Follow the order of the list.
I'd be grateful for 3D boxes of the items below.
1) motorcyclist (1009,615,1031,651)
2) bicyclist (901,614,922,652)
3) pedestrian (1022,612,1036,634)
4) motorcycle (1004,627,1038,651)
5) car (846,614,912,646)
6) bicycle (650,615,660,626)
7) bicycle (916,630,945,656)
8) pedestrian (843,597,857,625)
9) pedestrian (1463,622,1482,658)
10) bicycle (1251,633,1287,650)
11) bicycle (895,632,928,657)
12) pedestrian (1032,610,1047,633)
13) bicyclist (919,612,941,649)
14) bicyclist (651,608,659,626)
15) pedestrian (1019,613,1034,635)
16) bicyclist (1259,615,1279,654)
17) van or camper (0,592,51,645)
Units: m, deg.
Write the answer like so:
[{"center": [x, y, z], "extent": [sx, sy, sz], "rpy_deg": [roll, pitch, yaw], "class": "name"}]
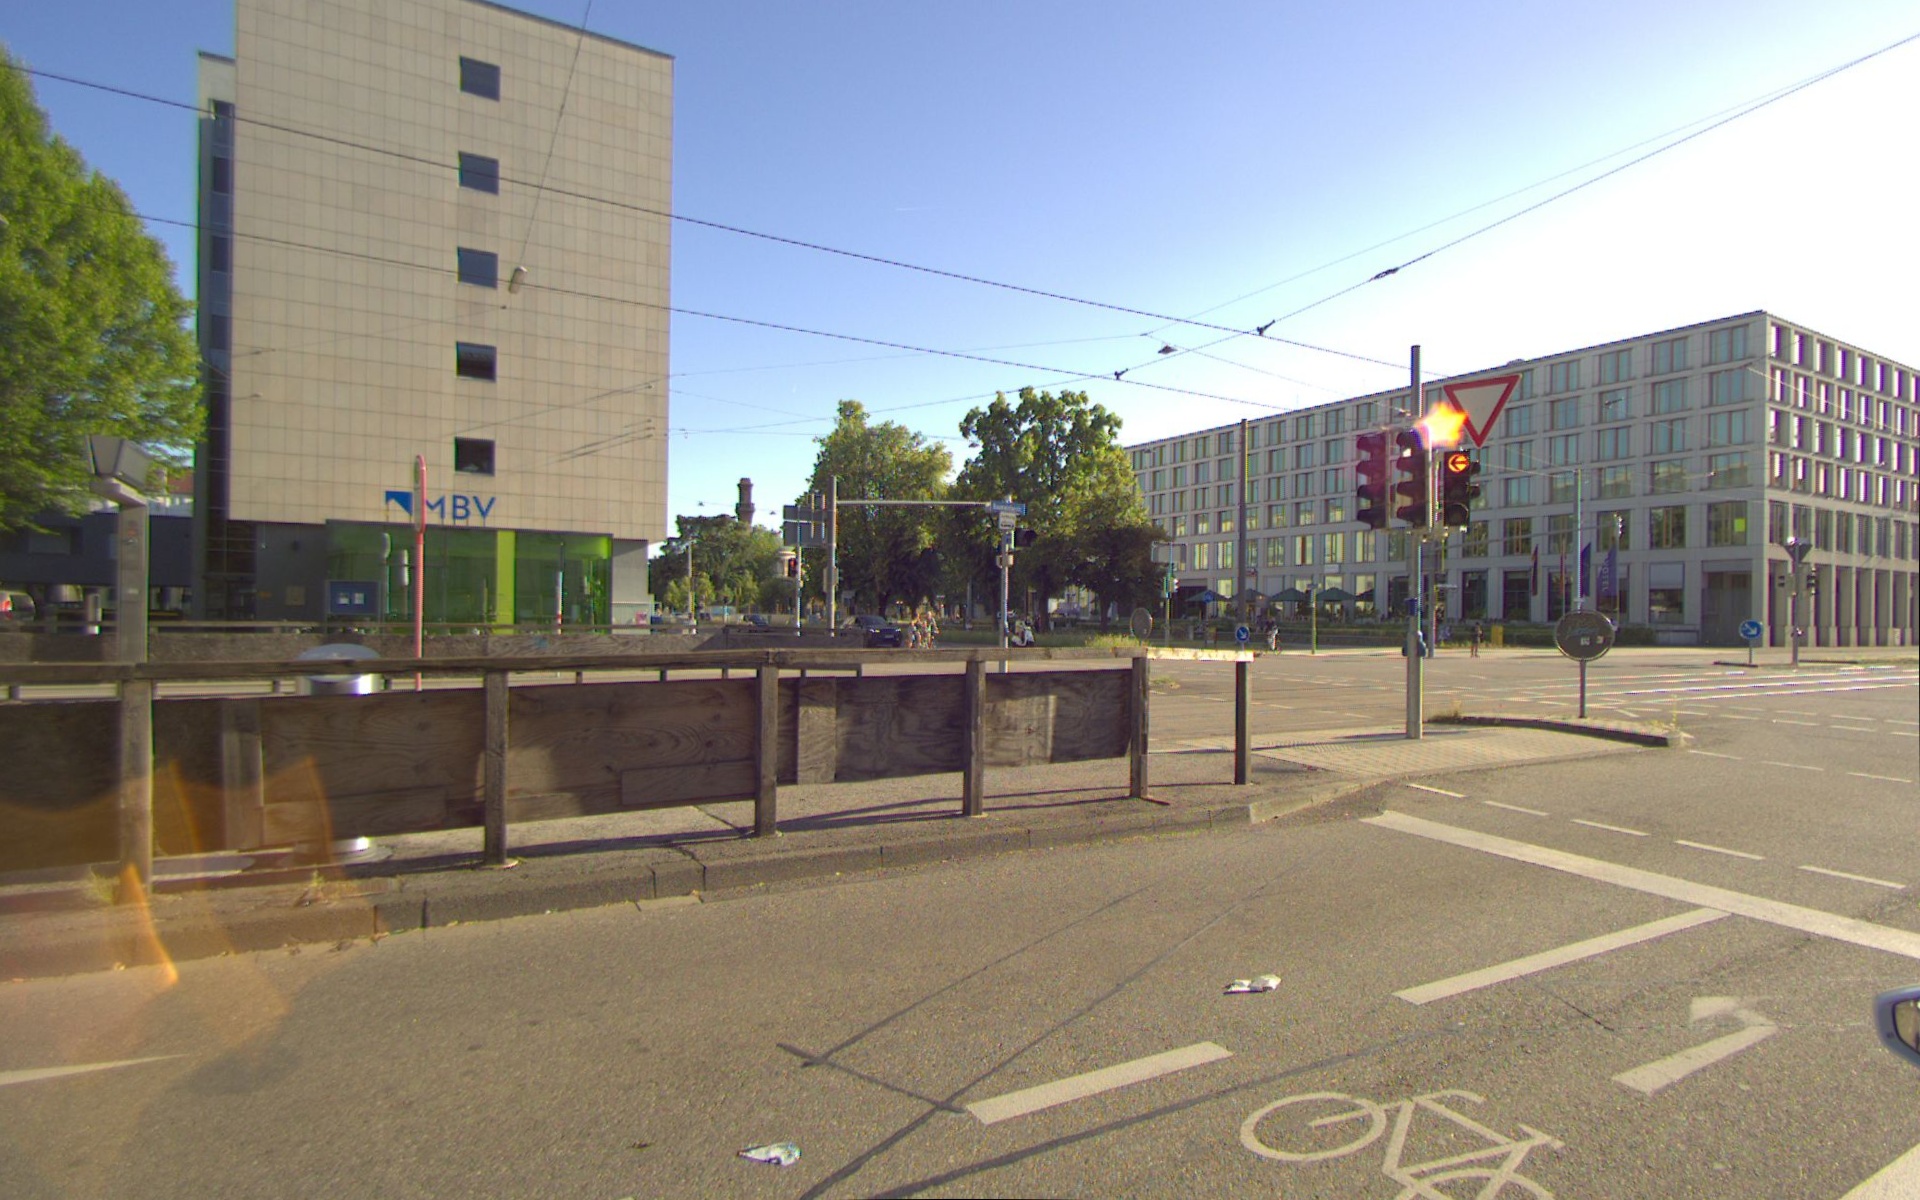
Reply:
[{"center": [2.809, 1.541, 46.985], "extent": [0.624, 1.601, 0.812], "rpy_deg": [-3, 1, -28], "class": "motorcyclist"}, {"center": [-2.030, 1.370, 42.015], "extent": [0.577, 1.563, 0.833], "rpy_deg": [1, -2, -32], "class": "bicyclist"}, {"center": [5.675, 1.909, 82.306], "extent": [0.858, 1.738, 0.737], "rpy_deg": [2, 0, -26], "class": "pedestrian"}, {"center": [2.850, 1.823, 46.954], "extent": [0.624, 1.030, 1.972], "rpy_deg": [-3, 1, -28], "class": "motorcycle"}, {"center": [-4.205, 1.539, 51.573], "extent": [1.925, 1.561, 3.969], "rpy_deg": [2, -2, -29], "class": "car"}, {"center": [-28.824, 1.892, 94.913], "extent": [0.576, 1.032, 1.666], "rpy_deg": [1, -1, -27], "class": "bicycle"}, {"center": [-1.264, 1.802, 42.380], "extent": [0.576, 1.032, 1.666], "rpy_deg": [1, -1, -27], "class": "bicycle"}, {"center": [-8.144, 0.786, 74.145], "extent": [0.772, 2.040, 0.747], "rpy_deg": [1, -1, -31], "class": "pedestrian"}, {"center": [25.030, 1.946, 49.035], "extent": [0.597, 1.703, 0.602], "rpy_deg": [1, -1, -22], "class": "pedestrian"}, {"center": [14.557, 1.966, 47.359], "extent": [1.831, 0.798, 0.532], "rpy_deg": [1, -1, -31], "class": "bicycle"}, {"center": [-2.035, 1.848, 42.018], "extent": [0.577, 1.032, 1.806], "rpy_deg": [1, -3, -31], "class": "bicycle"}, {"center": [6.277, 1.695, 79.527], "extent": [0.858, 1.738, 0.737], "rpy_deg": [2, 0, -26], "class": "pedestrian"}, {"center": [-1.269, 1.275, 42.417], "extent": [0.576, 1.563, 0.890], "rpy_deg": [1, -1, -27], "class": "bicyclist"}, {"center": [-28.831, 1.615, 94.924], "extent": [0.576, 1.658, 0.890], "rpy_deg": [1, -1, -27], "class": "bicyclist"}, {"center": [5.257, 1.882, 79.390], "extent": [0.858, 1.738, 0.737], "rpy_deg": [2, 0, -26], "class": "pedestrian"}, {"center": [14.584, 1.620, 47.358], "extent": [0.762, 1.784, 0.532], "rpy_deg": [1, -1, -30], "class": "bicyclist"}, {"center": [-27.885, 0.433, 27.563], "extent": [3.954, 1.425, 1.954], "rpy_deg": [4, -3, -30], "class": "van or camper"}]
